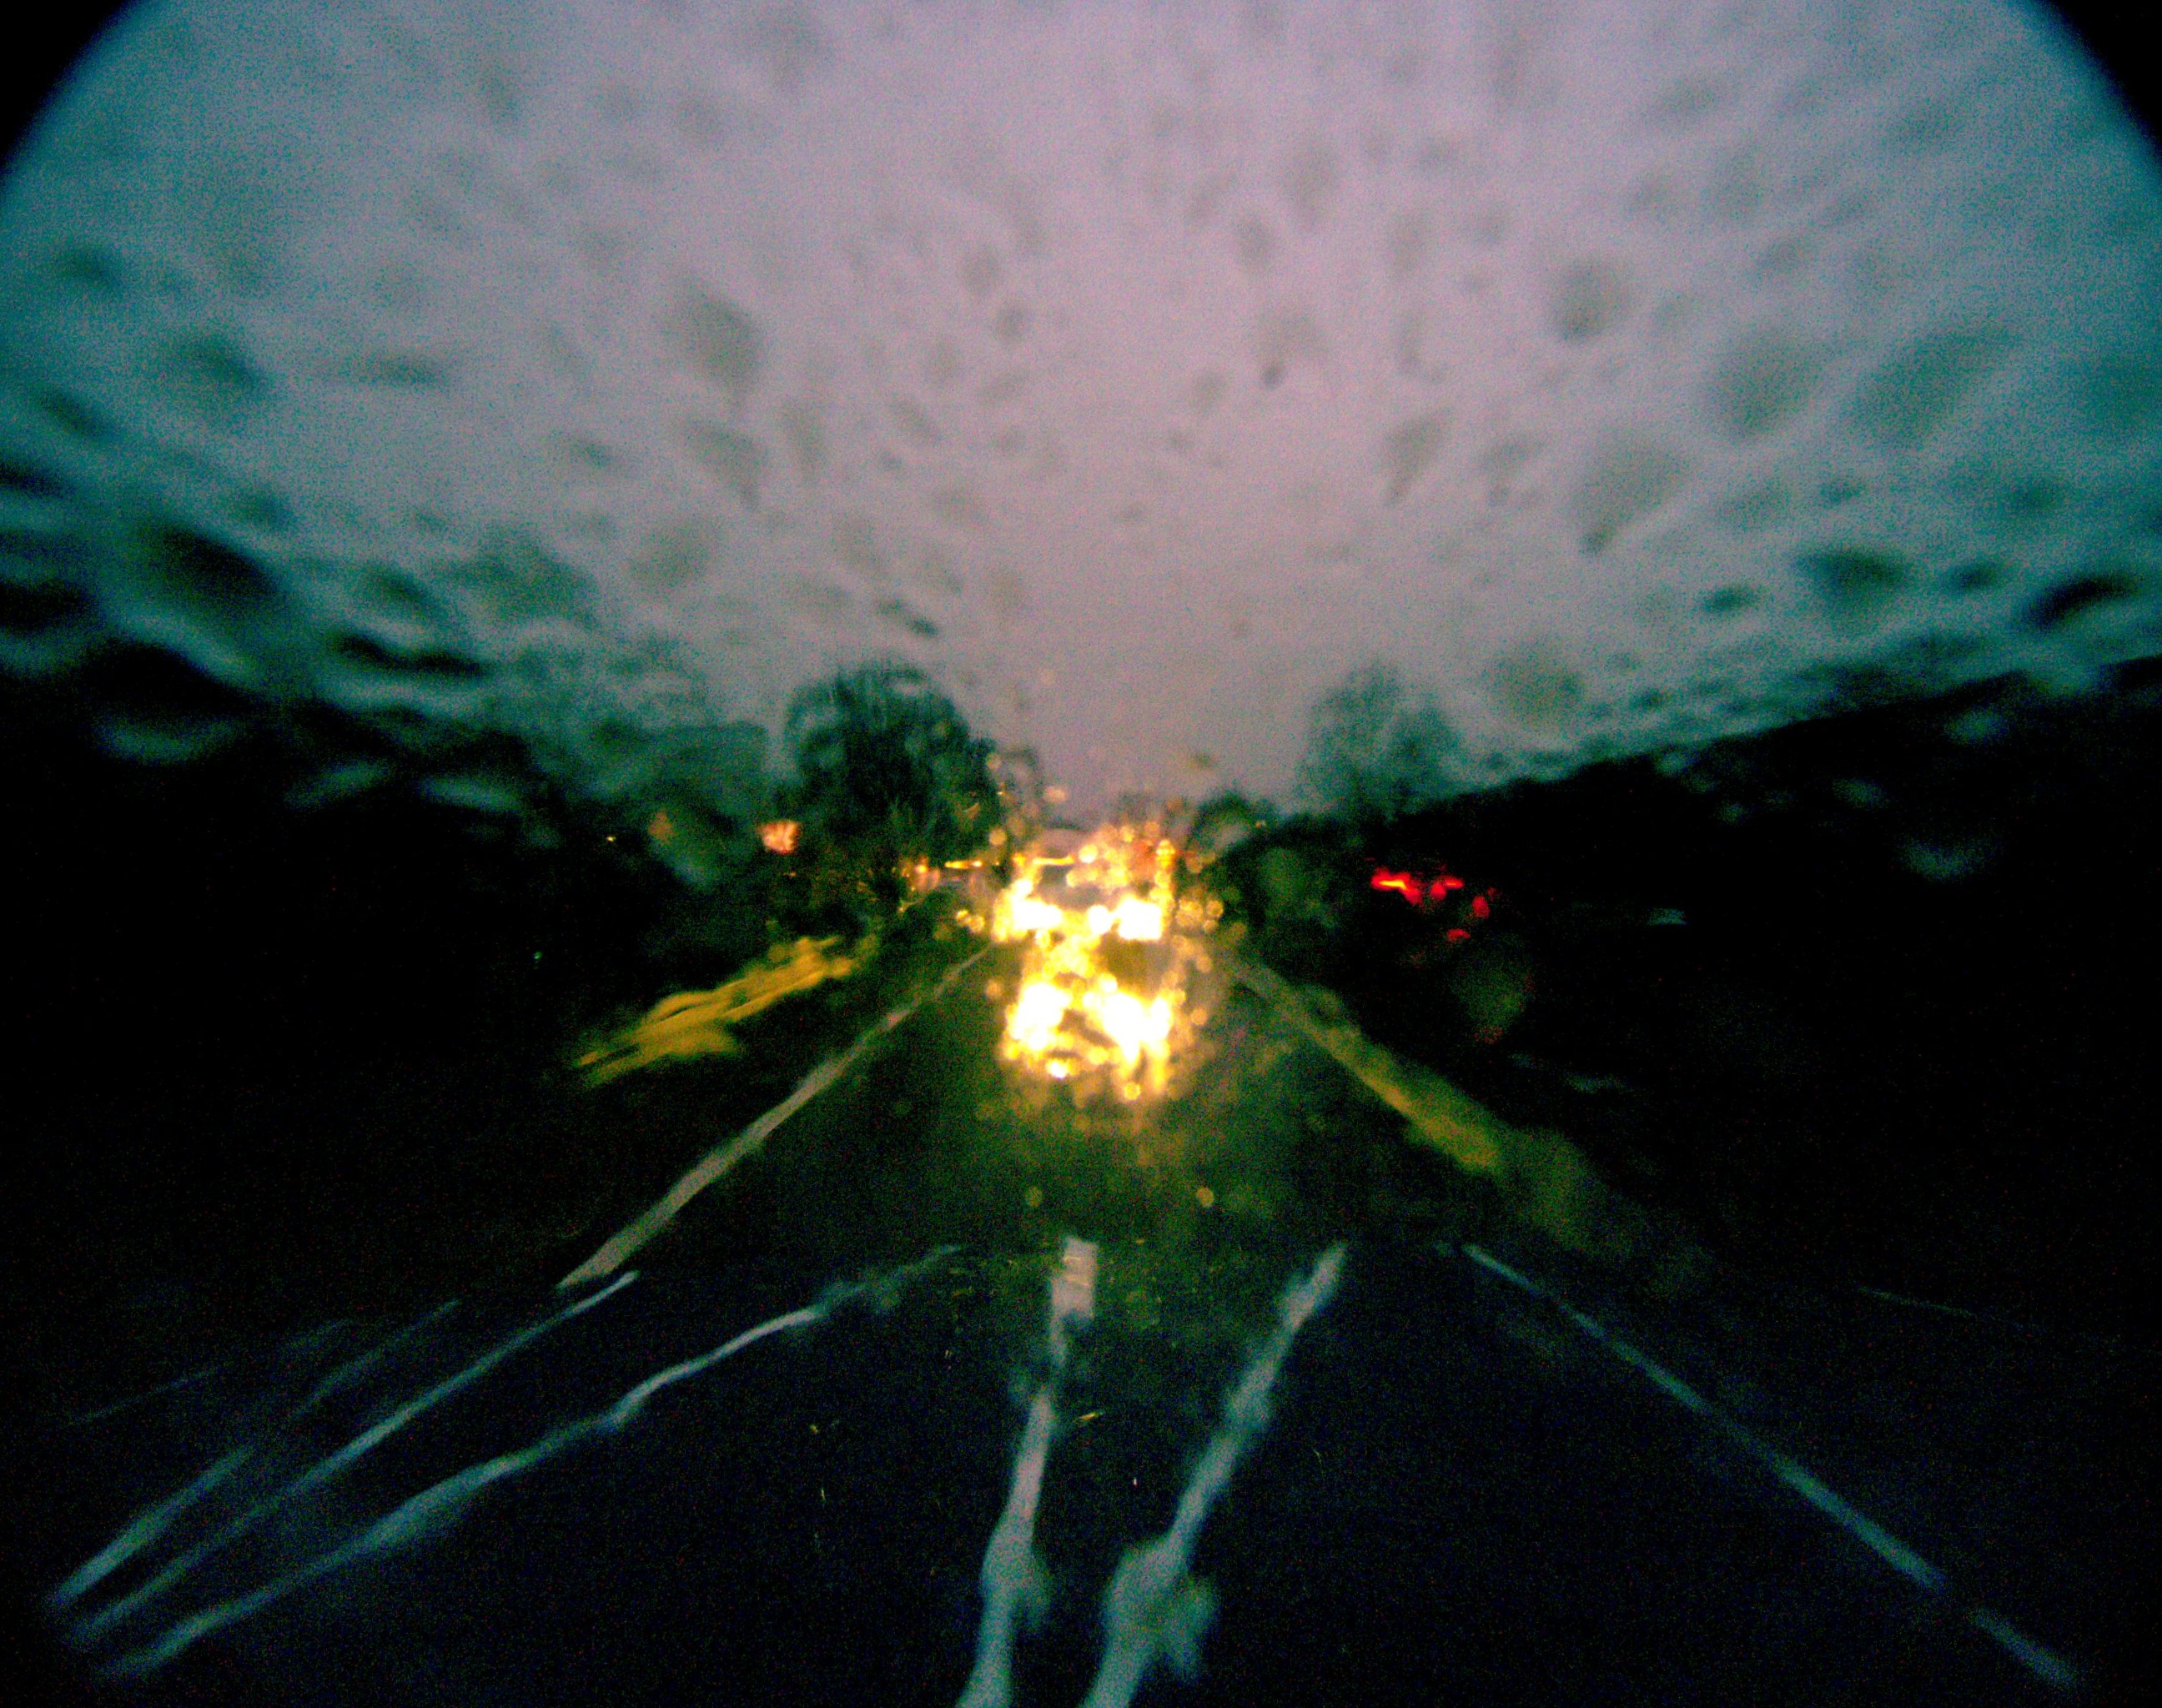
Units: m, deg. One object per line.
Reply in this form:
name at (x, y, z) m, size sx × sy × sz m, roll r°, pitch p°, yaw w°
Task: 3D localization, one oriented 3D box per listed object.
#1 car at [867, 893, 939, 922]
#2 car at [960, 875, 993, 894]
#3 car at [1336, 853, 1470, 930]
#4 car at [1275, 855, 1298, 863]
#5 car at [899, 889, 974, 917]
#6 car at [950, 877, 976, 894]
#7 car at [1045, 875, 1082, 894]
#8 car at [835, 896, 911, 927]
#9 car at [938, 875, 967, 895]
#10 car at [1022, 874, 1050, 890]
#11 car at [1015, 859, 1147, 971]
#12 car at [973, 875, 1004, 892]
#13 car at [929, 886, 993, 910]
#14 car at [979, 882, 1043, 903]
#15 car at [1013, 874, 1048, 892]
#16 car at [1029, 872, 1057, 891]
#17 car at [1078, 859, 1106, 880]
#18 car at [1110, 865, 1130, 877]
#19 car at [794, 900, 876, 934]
car at (-10.785, 3.221, 46.058) m, size 4.003 × 1.412 × 1.629 m, roll -2°, pitch 1°, yaw -20°
car at (-9.684, 2.786, 70.285) m, size 1.828 × 1.629 × 4.462 m, roll -2°, pitch -1°, yaw -24°
car at (6.998, 0.743, 16.895) m, size 1.610 × 1.461 × 3.686 m, roll -2°, pitch 0°, yaw 4°
car at (38.522, 0.932, 142.426) m, size 4.004 × 1.523 × 1.717 m, roll -1°, pitch 1°, yaw 21°
car at (-9.394, 3.158, 49.436) m, size 4.590 × 1.447 × 1.928 m, roll -3°, pitch 1°, yaw -16°
car at (-11.760, 3.136, 75.715) m, size 1.729 × 1.493 × 4.019 m, roll -2°, pitch 0°, yaw -20°
car at (-1.504, 2.689, 67.715) m, size 1.769 × 1.421 × 3.817 m, roll -1°, pitch 1°, yaw 25°
car at (-11.788, 3.226, 43.030) m, size 4.003 × 1.412 × 1.629 m, roll -2°, pitch 1°, yaw -20°
car at (-11.348, 2.689, 66.800) m, size 1.807 × 1.526 × 4.536 m, roll -2°, pitch 0°, yaw -18°
car at (-4.769, 2.961, 80.332) m, size 1.722 × 1.508 × 3.251 m, roll -3°, pitch 0°, yaw -26°
car at (0.115, 0.897, 13.055) m, size 1.809 × 1.452 × 4.247 m, roll -4°, pitch 0°, yaw 3°
car at (-9.635, 3.033, 79.091) m, size 1.804 × 1.586 × 3.971 m, roll -2°, pitch 0°, yaw -28°
car at (-8.376, 3.046, 52.851) m, size 4.182 × 1.388 × 1.901 m, roll -2°, pitch 1°, yaw -16°
car at (-5.496, 2.959, 59.141) m, size 4.706 × 1.388 × 1.902 m, roll -2°, pitch 1°, yaw -14°
car at (-5.048, 2.900, 76.021) m, size 3.258 × 1.526 × 1.391 m, roll -3°, pitch 0°, yaw -11°
car at (-4.466, 3.147, 87.914) m, size 1.889 × 1.946 × 4.953 m, roll -3°, pitch 0°, yaw -18°
car at (1.313, 1.841, 92.635) m, size 2.281 × 2.426 × 5.234 m, roll -2°, pitch 1°, yaw -12°
car at (5.045, 2.201, 98.924) m, size 1.715 × 1.404 × 4.010 m, roll -2°, pitch 1°, yaw -9°
car at (-13.004, 3.309, 40.219) m, size 4.003 × 1.431 × 1.794 m, roll -2°, pitch 1°, yaw -20°
